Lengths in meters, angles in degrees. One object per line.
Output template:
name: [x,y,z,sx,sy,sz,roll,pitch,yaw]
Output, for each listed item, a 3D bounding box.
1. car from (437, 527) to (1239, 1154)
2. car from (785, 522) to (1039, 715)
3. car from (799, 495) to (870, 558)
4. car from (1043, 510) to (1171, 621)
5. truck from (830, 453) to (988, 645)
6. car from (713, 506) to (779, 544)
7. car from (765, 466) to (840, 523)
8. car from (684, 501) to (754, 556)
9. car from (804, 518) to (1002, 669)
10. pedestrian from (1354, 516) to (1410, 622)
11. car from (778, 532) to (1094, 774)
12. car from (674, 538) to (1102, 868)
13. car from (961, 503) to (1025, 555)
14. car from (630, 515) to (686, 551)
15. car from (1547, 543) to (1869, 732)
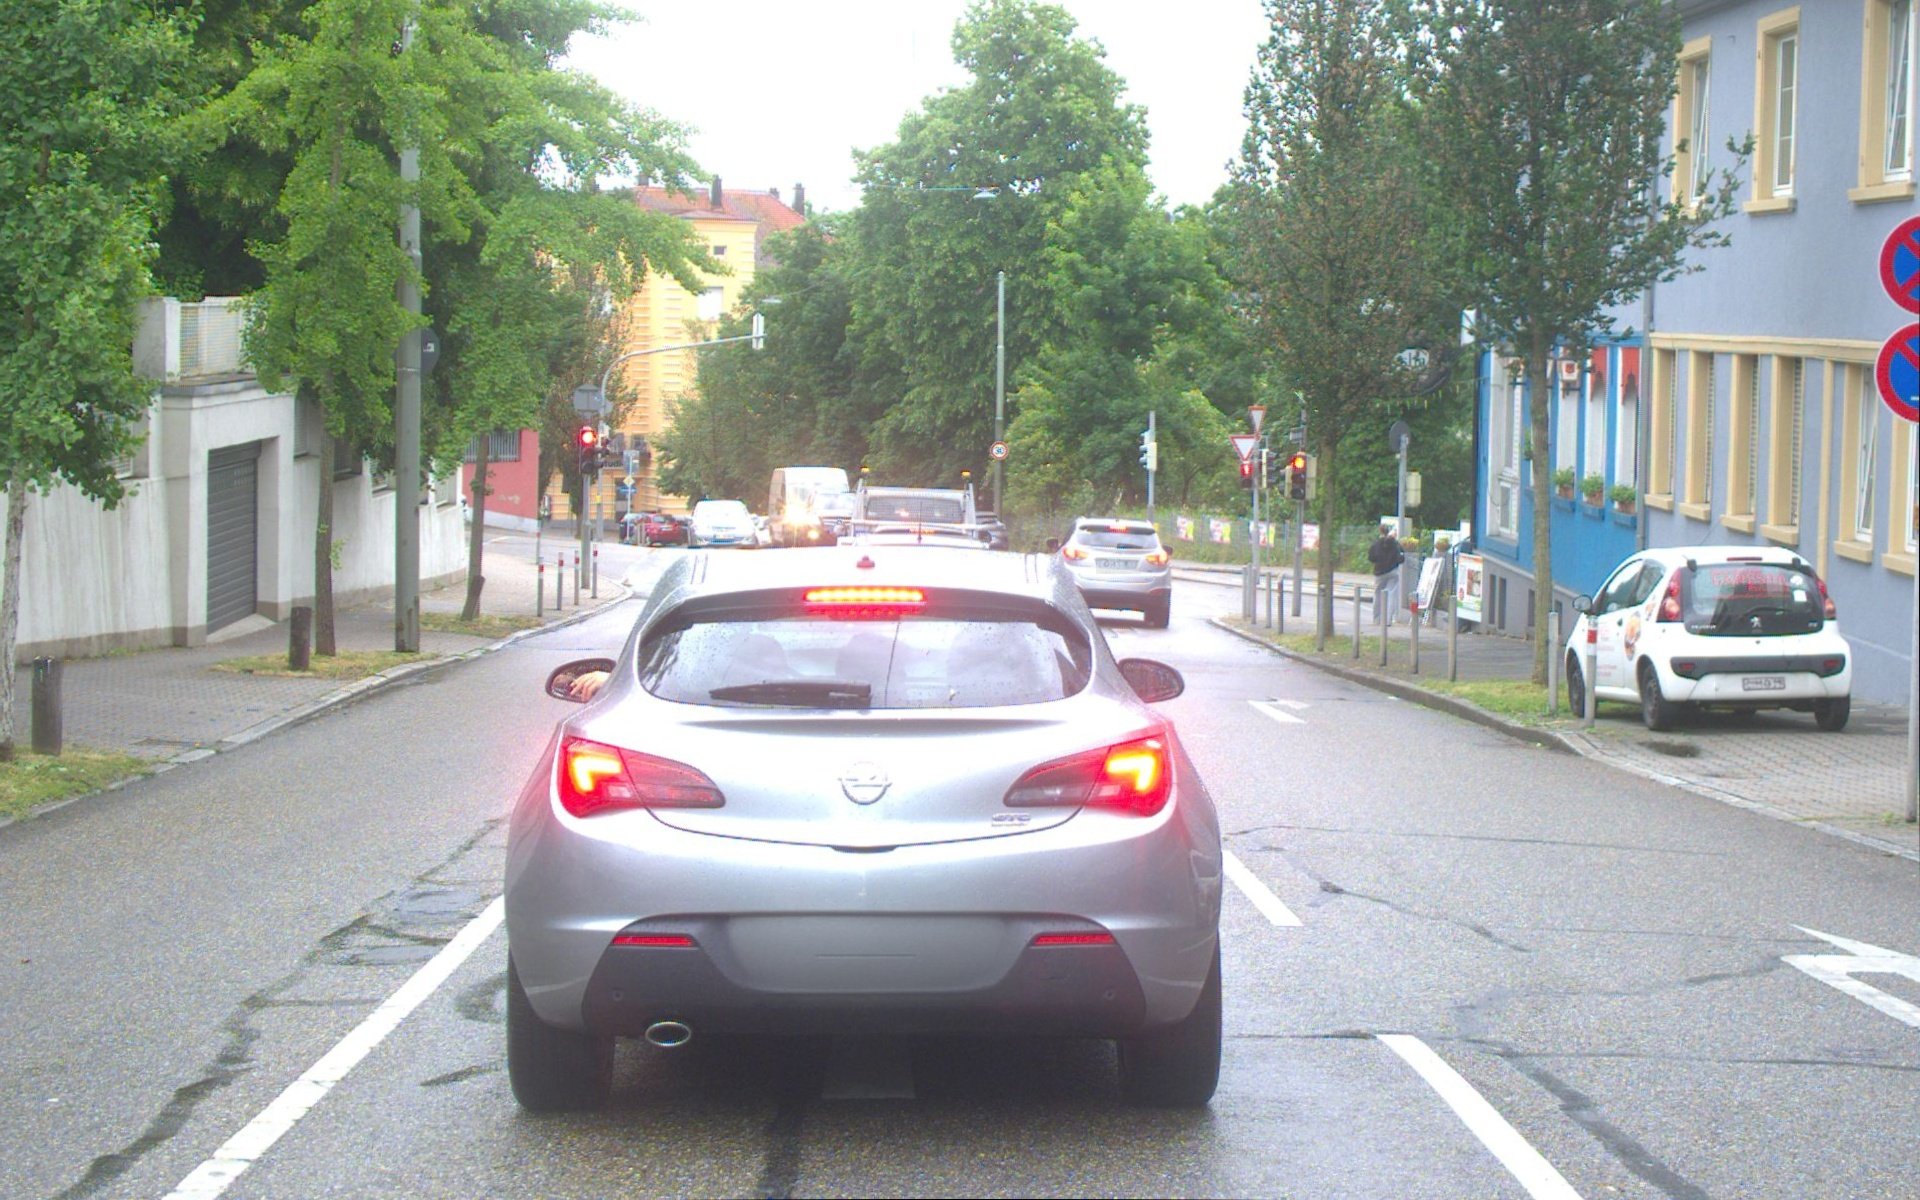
car: [-0.363,0.521,9.922,1.837,1.429,3.880,1,1,-2]
car: [-0.446,0.098,29.438,1.962,1.443,4.306,2,1,-2]
car: [-3.378,-1.980,92.598,1.870,1.632,3.880,0,1,-2]
car: [2.324,-0.574,55.124,1.722,1.708,3.880,0,1,-2]
truck: [-0.731,-0.731,47.089,1.962,2.420,4.936,2,1,-2]
car: [-8.694,-3.040,139.327,1.722,1.538,3.881,0,1,-18]
car: [-4.613,-3.068,100.219,1.722,1.632,3.881,0,1,-9]
car: [-6.472,-1.921,92.579,1.722,1.455,3.880,0,1,-2]
car: [-0.643,-0.118,37.097,1.962,1.443,4.306,2,1,-2]
pedestrian: [6.986,-0.519,56.904,0.783,1.723,0.651,2,1,0]
car: [-0.216,0.297,24.060,1.962,1.443,4.306,2,1,-2]
car: [-0.404,0.449,18.340,1.962,1.443,4.306,2,1,-2]
car: [1.021,-2.254,108.891,1.722,1.632,3.880,0,1,-4]
car: [-13.899,-3.078,158.097,1.722,1.632,3.881,0,1,-18]
car: [6.154,0.262,28.699,1.722,1.443,3.880,0,1,-2]
